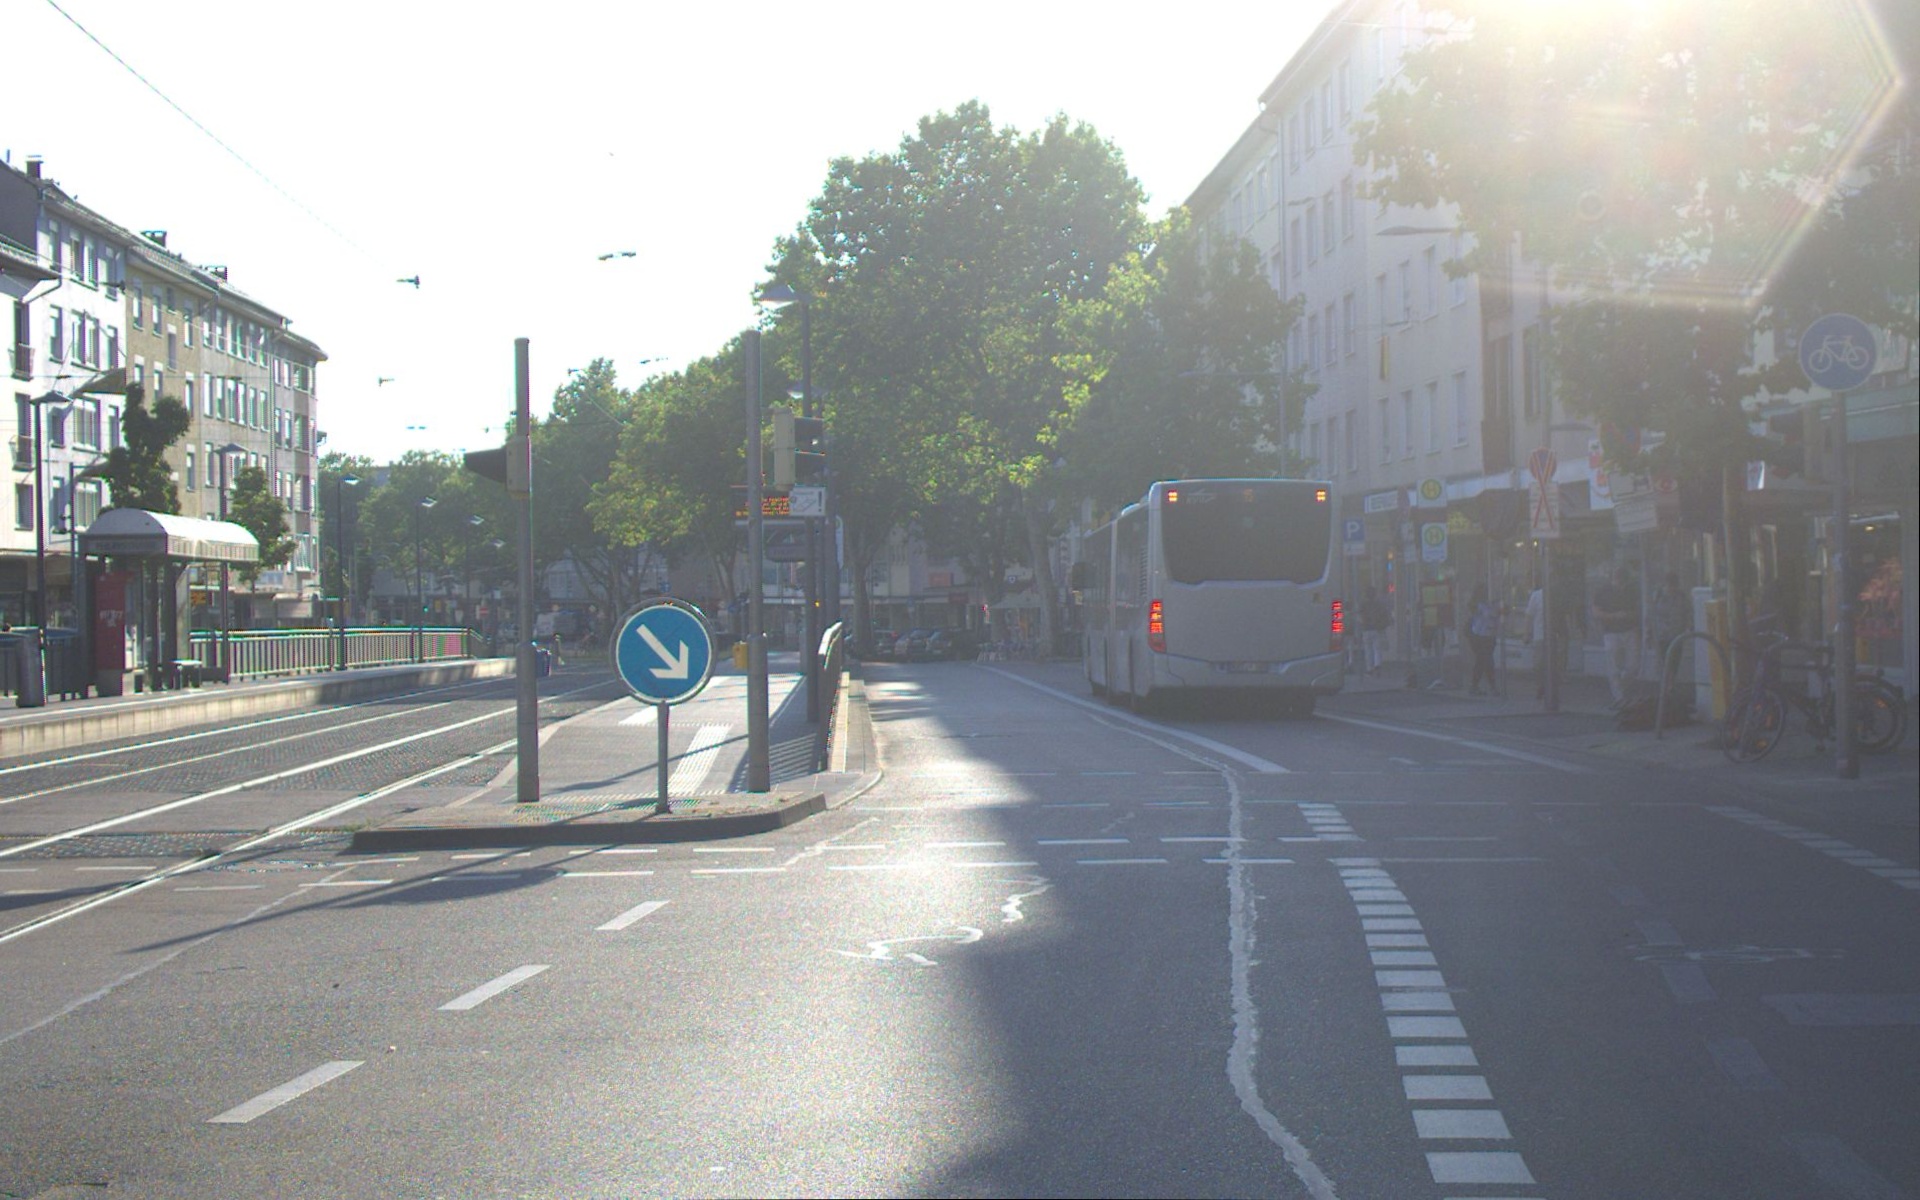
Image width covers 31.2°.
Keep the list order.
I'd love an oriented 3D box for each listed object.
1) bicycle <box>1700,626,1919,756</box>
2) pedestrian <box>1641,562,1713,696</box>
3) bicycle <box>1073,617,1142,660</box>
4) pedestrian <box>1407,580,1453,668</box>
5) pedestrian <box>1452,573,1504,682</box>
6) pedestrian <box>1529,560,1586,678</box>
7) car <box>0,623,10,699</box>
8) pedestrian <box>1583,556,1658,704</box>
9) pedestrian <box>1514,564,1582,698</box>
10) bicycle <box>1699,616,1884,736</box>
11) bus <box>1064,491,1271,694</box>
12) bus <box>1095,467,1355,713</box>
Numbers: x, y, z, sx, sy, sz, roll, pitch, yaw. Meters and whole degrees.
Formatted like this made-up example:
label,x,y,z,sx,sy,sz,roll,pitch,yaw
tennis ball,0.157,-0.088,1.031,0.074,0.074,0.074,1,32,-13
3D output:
label,x,y,z,sx,sy,sz,roll,pitch,yaw
bicycle,7.292,0.769,29.317,1.798,1.005,0.541,-3,0,-4
pedestrian,9.336,0.376,44.770,0.723,1.717,0.766,-1,0,-2
bicycle,4.253,1.098,99.049,1.887,1.073,0.754,-5,0,2
pedestrian,8.876,0.447,64.930,0.723,1.627,0.766,-1,0,-2
pedestrian,7.609,0.401,50.520,0.610,1.573,0.851,-1,0,1
pedestrian,9.417,0.296,54.207,0.723,1.834,0.766,-1,-1,-2
car,-22.753,1.384,75.091,1.769,1.674,3.504,-1,1,35
pedestrian,8.179,0.372,42.601,0.723,1.800,0.766,-1,-1,-2
pedestrian,7.924,0.414,46.350,0.723,1.773,0.766,-1,0,-2
bicycle,7.223,0.658,29.882,1.482,1.005,0.454,-1,0,-4
bus,3.318,-0.110,57.312,2.696,3.107,9.070,0,0,-1
bus,3.531,-0.125,48.118,2.696,3.107,9.382,0,0,-1
